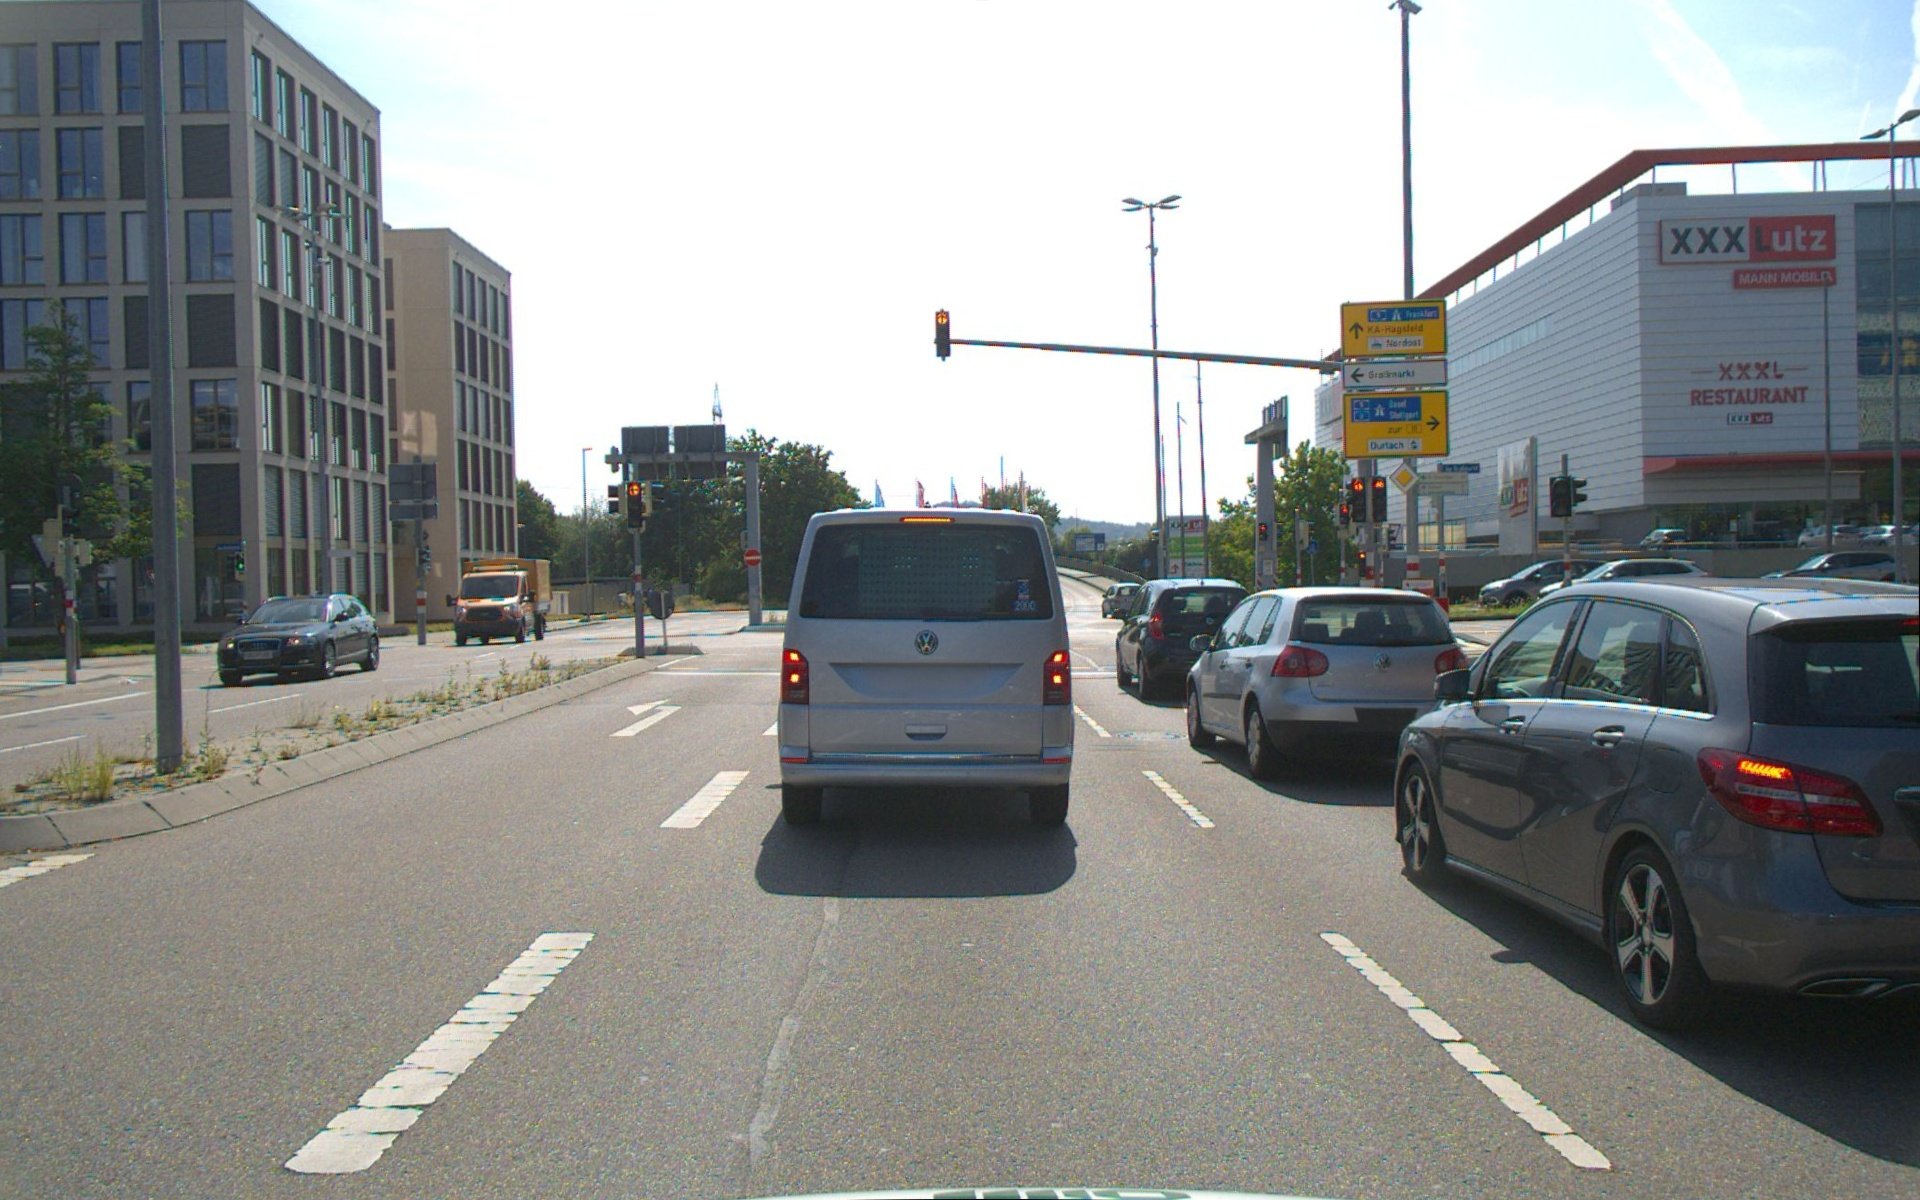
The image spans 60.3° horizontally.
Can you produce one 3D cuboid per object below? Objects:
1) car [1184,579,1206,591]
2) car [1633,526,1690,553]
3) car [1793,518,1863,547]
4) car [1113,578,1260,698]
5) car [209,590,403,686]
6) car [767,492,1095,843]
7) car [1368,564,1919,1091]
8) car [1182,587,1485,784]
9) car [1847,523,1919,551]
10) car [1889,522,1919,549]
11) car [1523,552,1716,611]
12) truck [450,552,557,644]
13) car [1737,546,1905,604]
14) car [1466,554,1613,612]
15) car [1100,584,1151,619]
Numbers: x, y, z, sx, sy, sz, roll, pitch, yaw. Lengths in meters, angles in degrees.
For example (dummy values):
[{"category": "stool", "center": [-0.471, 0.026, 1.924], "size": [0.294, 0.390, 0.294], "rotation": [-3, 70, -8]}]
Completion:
[{"category": "car", "center": [31.523, -2.062, 221.835], "size": [1.849, 1.545, 3.991], "rotation": [1, 0, -9]}, {"category": "car", "center": [41.825, -3.604, 98.713], "size": [1.734, 1.444, 4.201], "rotation": [-2, 1, 2]}, {"category": "car", "center": [49.033, -3.791, 93.478], "size": [1.762, 1.444, 4.007], "rotation": [-2, 1, -1]}, {"category": "car", "center": [3.012, 0.453, 22.557], "size": [1.499, 1.505, 3.596], "rotation": [0, 1, 0]}, {"category": "car", "center": [-11.960, 0.635, 30.590], "size": [1.810, 1.485, 4.662], "rotation": [-4, 1, -2]}, {"category": "car", "center": [-0.196, 0.361, 11.639], "size": [1.878, 2.010, 4.296], "rotation": [0, 1, -1]}, {"category": "car", "center": [3.173, 0.638, 7.056], "size": [1.738, 1.566, 4.137], "rotation": [-1, 1, -2]}, {"category": "car", "center": [3.020, 0.618, 14.113], "size": [1.633, 1.439, 3.681], "rotation": [0, 1, -2]}, {"category": "car", "center": [51.724, -3.512, 92.756], "size": [1.794, 1.444, 4.201], "rotation": [-2, 1, 2]}, {"category": "car", "center": [54.467, -3.662, 93.357], "size": [1.833, 1.444, 4.201], "rotation": [-2, 1, 2]}, {"category": "car", "center": [18.514, -0.503, 46.584], "size": [4.618, 1.450, 1.959], "rotation": [-2, -1, 2]}, {"category": "truck", "center": [-14.290, -0.096, 52.178], "size": [2.331, 2.670, 6.661], "rotation": [-2, 1, -8]}, {"category": "car", "center": [25.471, -0.719, 49.012], "size": [3.945, 1.535, 1.909], "rotation": [-2, -1, 2]}, {"category": "car", "center": [17.343, -0.508, 49.625], "size": [3.803, 1.585, 1.809], "rotation": [-2, 0, 3]}, {"category": "car", "center": [7.367, 0.041, 73.687], "size": [1.502, 1.463, 3.241], "rotation": [-2, 1, -8]}]
